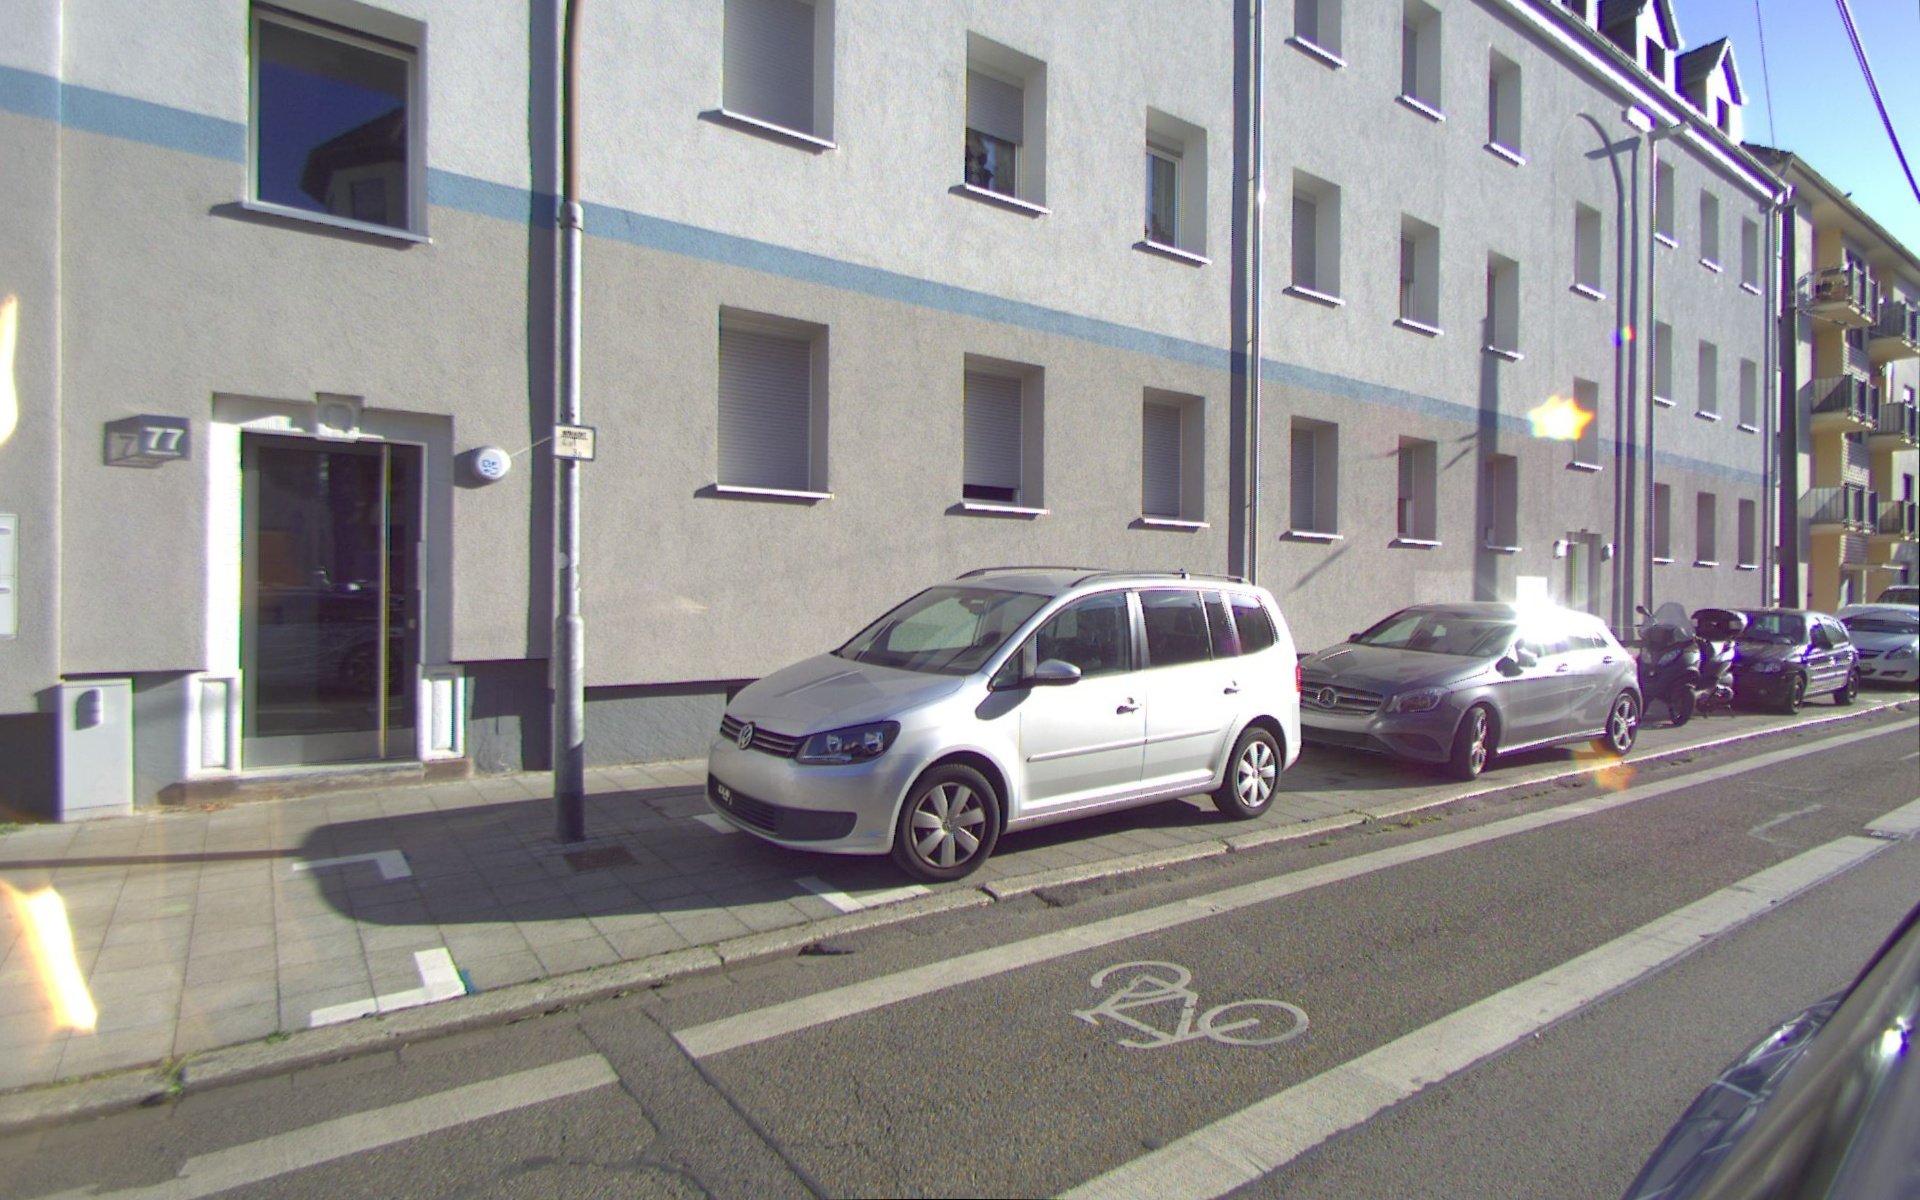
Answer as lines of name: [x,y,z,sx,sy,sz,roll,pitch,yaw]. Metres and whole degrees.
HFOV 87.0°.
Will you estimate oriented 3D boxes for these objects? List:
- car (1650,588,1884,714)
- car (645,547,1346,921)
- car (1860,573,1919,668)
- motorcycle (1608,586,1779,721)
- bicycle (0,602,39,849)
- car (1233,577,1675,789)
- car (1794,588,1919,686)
car: [12.001,0.664,14.993,3.829,1.590,1.615,0,2,-34]
car: [0.476,0.565,6.659,4.542,1.686,1.759,0,2,-39]
car: [21.834,0.436,22.230,4.908,1.945,1.936,0,2,-35]
motorcycle: [9.330,0.619,12.834,2.656,1.540,0.809,0,2,-33]
bicycle: [-5.986,0.624,4.800,2.284,1.212,1.099,0,0,-37]
car: [4.813,0.621,9.688,4.281,1.574,1.871,0,2,-34]
car: [17.203,0.621,18.738,3.831,1.590,1.806,0,2,-36]
